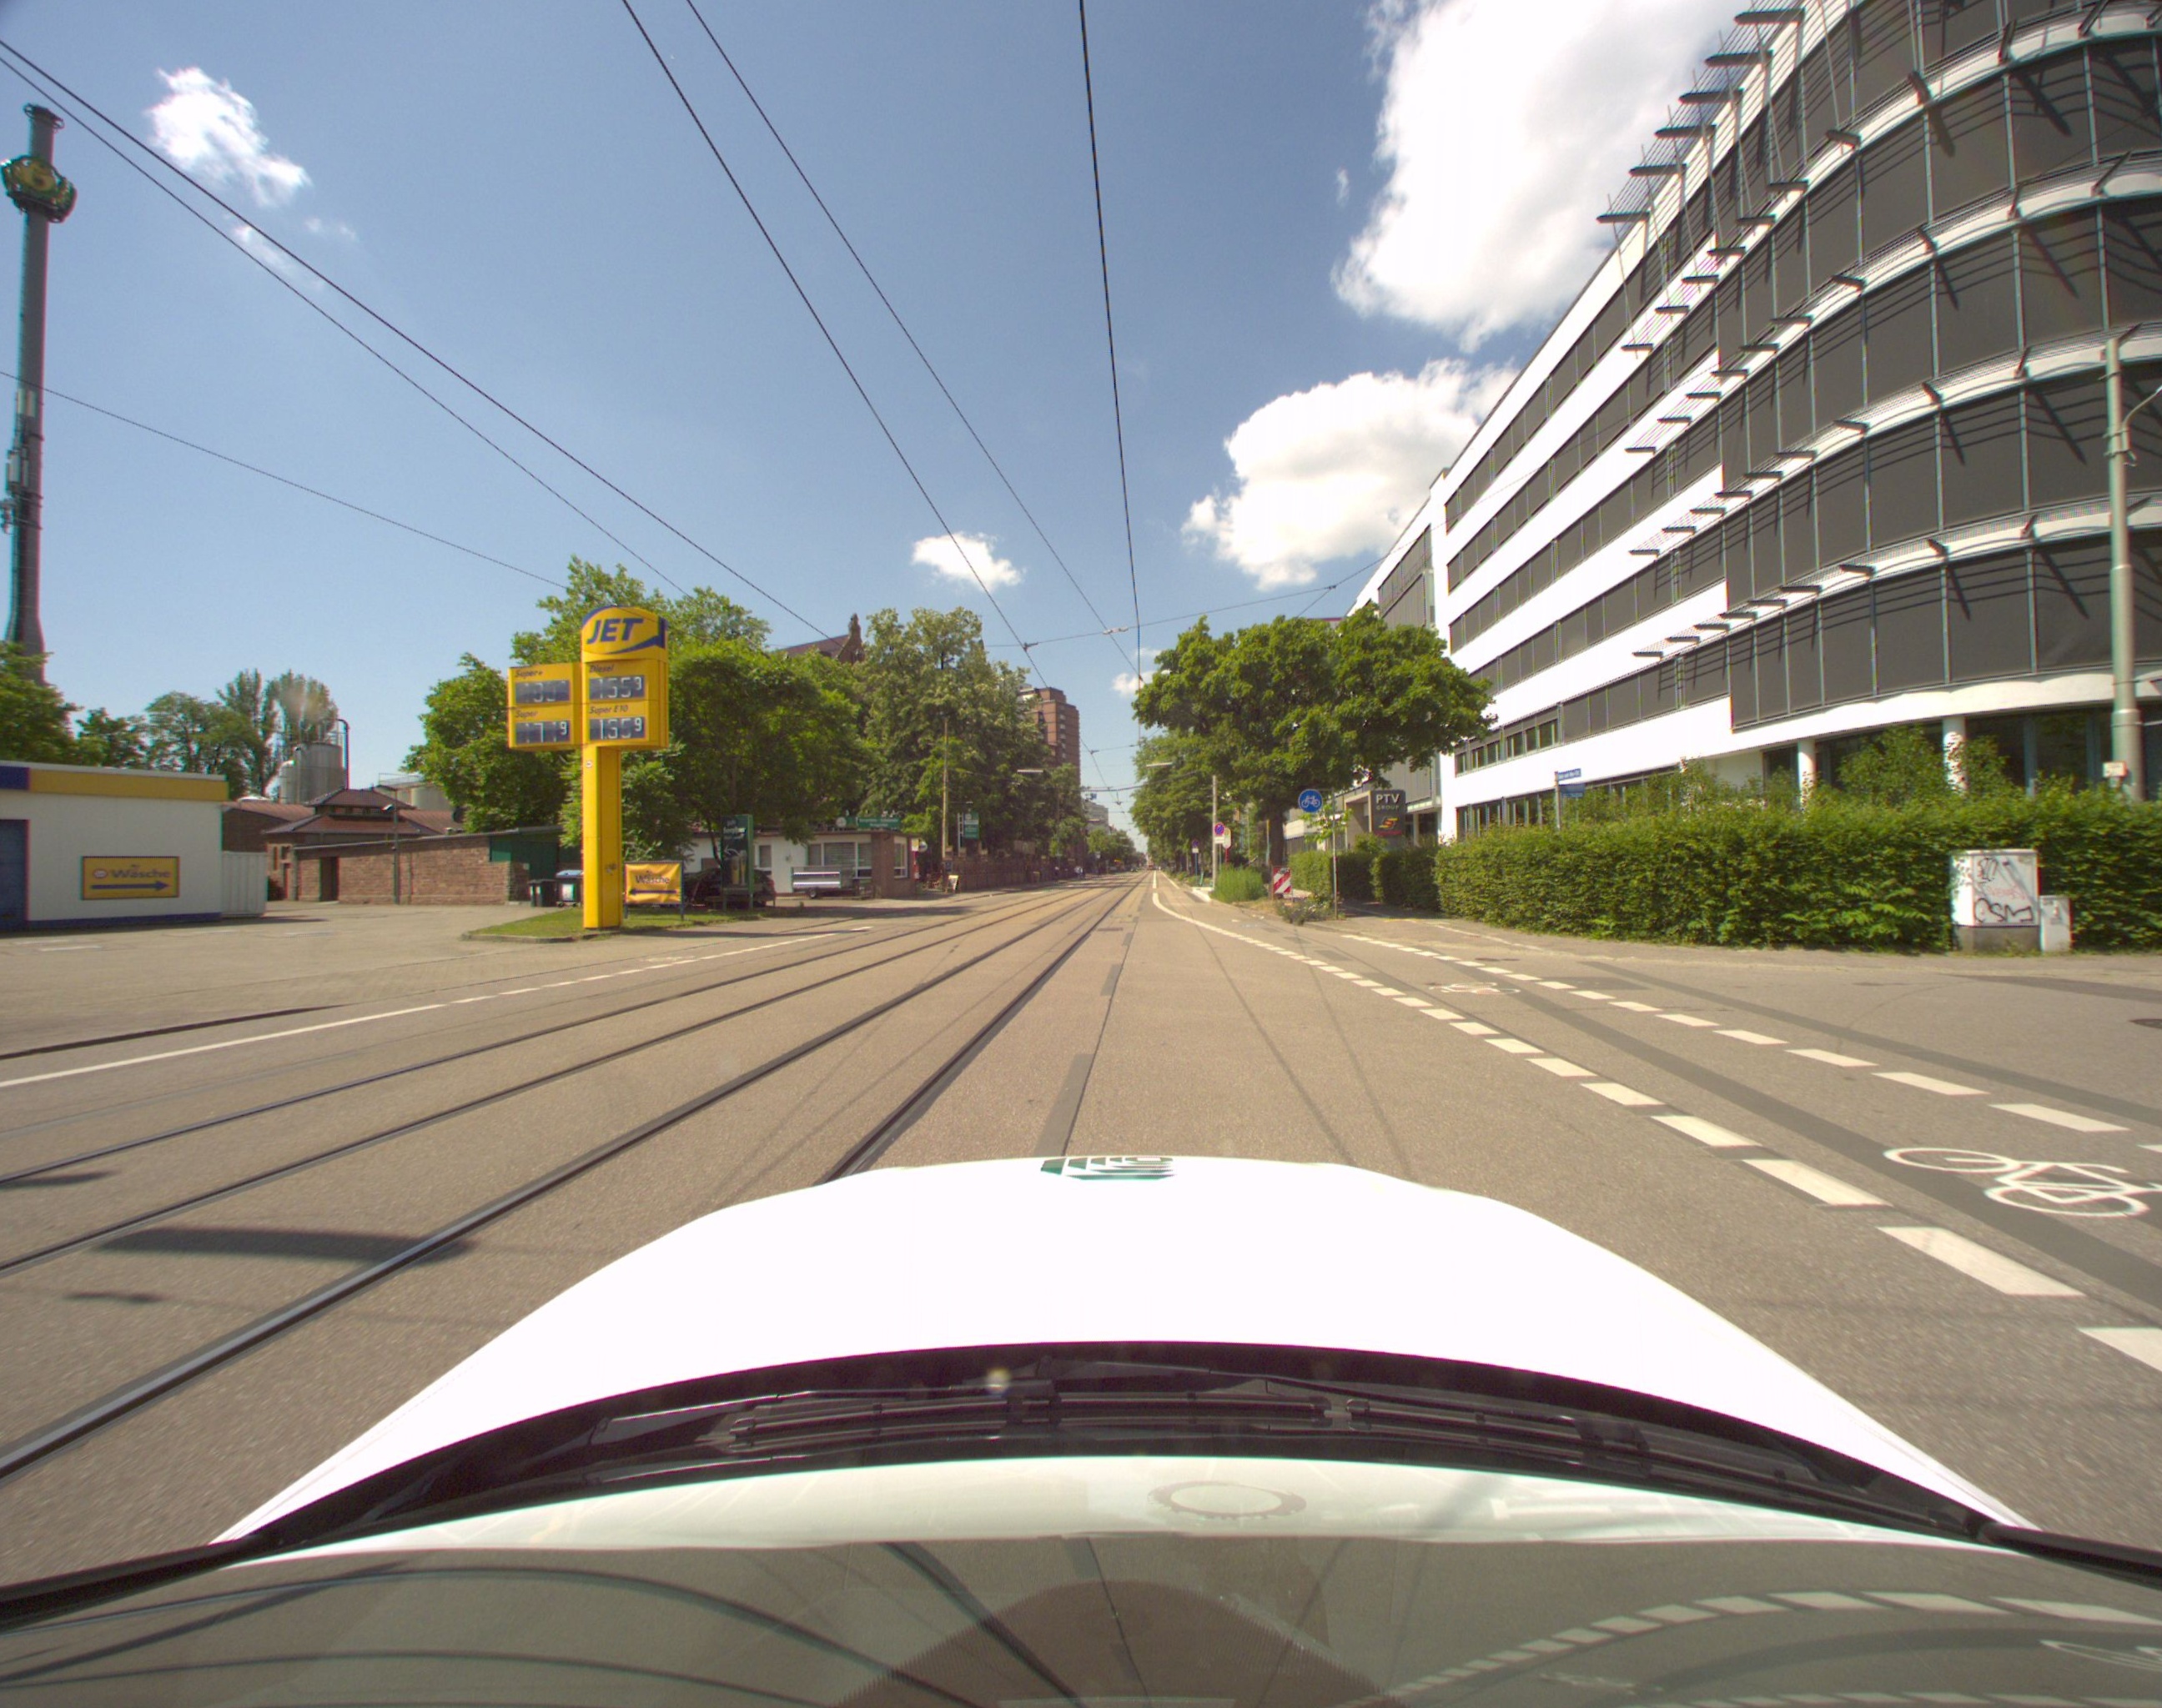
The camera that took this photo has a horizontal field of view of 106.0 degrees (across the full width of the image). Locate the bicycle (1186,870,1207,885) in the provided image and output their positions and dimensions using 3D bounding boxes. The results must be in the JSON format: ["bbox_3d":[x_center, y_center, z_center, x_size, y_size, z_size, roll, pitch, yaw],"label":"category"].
[{"bbox_3d":[10.053,2.043,70.994,1.745,1.271,0.531,-1,-2,2],"label":"bicycle"}]

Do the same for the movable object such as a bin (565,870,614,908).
[{"bbox_3d":[-17.982,1.267,29.824,1.339,1.354,0.759,-1,-1,3],"label":"movable object such as a bin"}]

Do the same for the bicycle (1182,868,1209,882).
[{"bbox_3d":[10.666,1.985,75.933,2.496,1.210,0.649,-1,-2,9],"label":"bicycle"}]

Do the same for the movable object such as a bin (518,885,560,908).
[{"bbox_3d":[-21.077,1.642,31.649,1.332,0.873,0.762,-2,-1,25],"label":"movable object such as a bin"}]

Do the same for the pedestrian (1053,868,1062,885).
[{"bbox_3d":[-2.607,2.475,90.014,0.811,1.770,0.926,-1,-2,5],"label":"pedestrian"}]

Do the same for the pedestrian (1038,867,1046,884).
[{"bbox_3d":[-4.076,2.214,84.552,0.739,1.728,0.868,-1,-2,5],"label":"pedestrian"}]

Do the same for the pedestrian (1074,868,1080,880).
[{"bbox_3d":[-0.625,3.053,124.061,0.739,1.728,0.868,-1,-2,5],"label":"pedestrian"}]

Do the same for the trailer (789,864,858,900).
[{"bbox_3d":[-12.666,1.378,40.179,2.816,1.704,1.623,-1,-1,6],"label":"trailer"}]

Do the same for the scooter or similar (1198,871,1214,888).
[{"bbox_3d":[8.887,1.799,57.999,1.053,1.156,0.371,-2,-2,5],"label":"scooter or similar"}]

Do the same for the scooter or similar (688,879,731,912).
[{"bbox_3d":[-13.715,1.506,30.069,1.368,1.174,0.401,0,-2,-42],"label":"scooter or similar"}]

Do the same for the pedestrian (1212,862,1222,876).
[{"bbox_3d":[18.225,2.034,108.926,1.211,1.827,0.831,-1,-2,1],"label":"pedestrian"}]

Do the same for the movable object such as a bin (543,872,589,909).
[{"bbox_3d":[-19.348,1.376,30.622,1.334,1.354,0.761,-1,-1,17],"label":"movable object such as a bin"}]

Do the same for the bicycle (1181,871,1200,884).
[{"bbox_3d":[10.029,2.142,74.586,1.745,1.166,0.531,-1,-2,2],"label":"bicycle"}]

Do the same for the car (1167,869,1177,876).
[{"bbox_3d":[18.409,3.704,164.387,1.984,1.310,4.005,-1,-1,5],"label":"car"}]

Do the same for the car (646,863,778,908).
[{"bbox_3d":[-14.391,1.198,31.876,4.356,1.590,1.976,0,-2,-41],"label":"car"}]

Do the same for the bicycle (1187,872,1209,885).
[{"bbox_3d":[10.004,2.098,69.839,1.781,1.102,0.532,-1,-2,3],"label":"bicycle"}]

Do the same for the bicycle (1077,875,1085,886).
[{"bbox_3d":[-0.023,3.096,94.991,0.697,1.204,2.243,-3,-1,5],"label":"bicycle"}]

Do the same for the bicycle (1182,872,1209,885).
[{"bbox_3d":[10.961,2.320,77.860,2.496,1.210,0.743,-1,-2,9],"label":"bicycle"}]

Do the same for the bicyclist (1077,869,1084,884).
[{"bbox_3d":[-0.044,2.613,95.054,0.639,1.679,0.816,-1,-1,4],"label":"bicyclist"}]

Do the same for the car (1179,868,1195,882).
[{"bbox_3d":[12.143,2.382,93.728,1.626,1.501,4.005,-1,-1,5],"label":"car"}]
